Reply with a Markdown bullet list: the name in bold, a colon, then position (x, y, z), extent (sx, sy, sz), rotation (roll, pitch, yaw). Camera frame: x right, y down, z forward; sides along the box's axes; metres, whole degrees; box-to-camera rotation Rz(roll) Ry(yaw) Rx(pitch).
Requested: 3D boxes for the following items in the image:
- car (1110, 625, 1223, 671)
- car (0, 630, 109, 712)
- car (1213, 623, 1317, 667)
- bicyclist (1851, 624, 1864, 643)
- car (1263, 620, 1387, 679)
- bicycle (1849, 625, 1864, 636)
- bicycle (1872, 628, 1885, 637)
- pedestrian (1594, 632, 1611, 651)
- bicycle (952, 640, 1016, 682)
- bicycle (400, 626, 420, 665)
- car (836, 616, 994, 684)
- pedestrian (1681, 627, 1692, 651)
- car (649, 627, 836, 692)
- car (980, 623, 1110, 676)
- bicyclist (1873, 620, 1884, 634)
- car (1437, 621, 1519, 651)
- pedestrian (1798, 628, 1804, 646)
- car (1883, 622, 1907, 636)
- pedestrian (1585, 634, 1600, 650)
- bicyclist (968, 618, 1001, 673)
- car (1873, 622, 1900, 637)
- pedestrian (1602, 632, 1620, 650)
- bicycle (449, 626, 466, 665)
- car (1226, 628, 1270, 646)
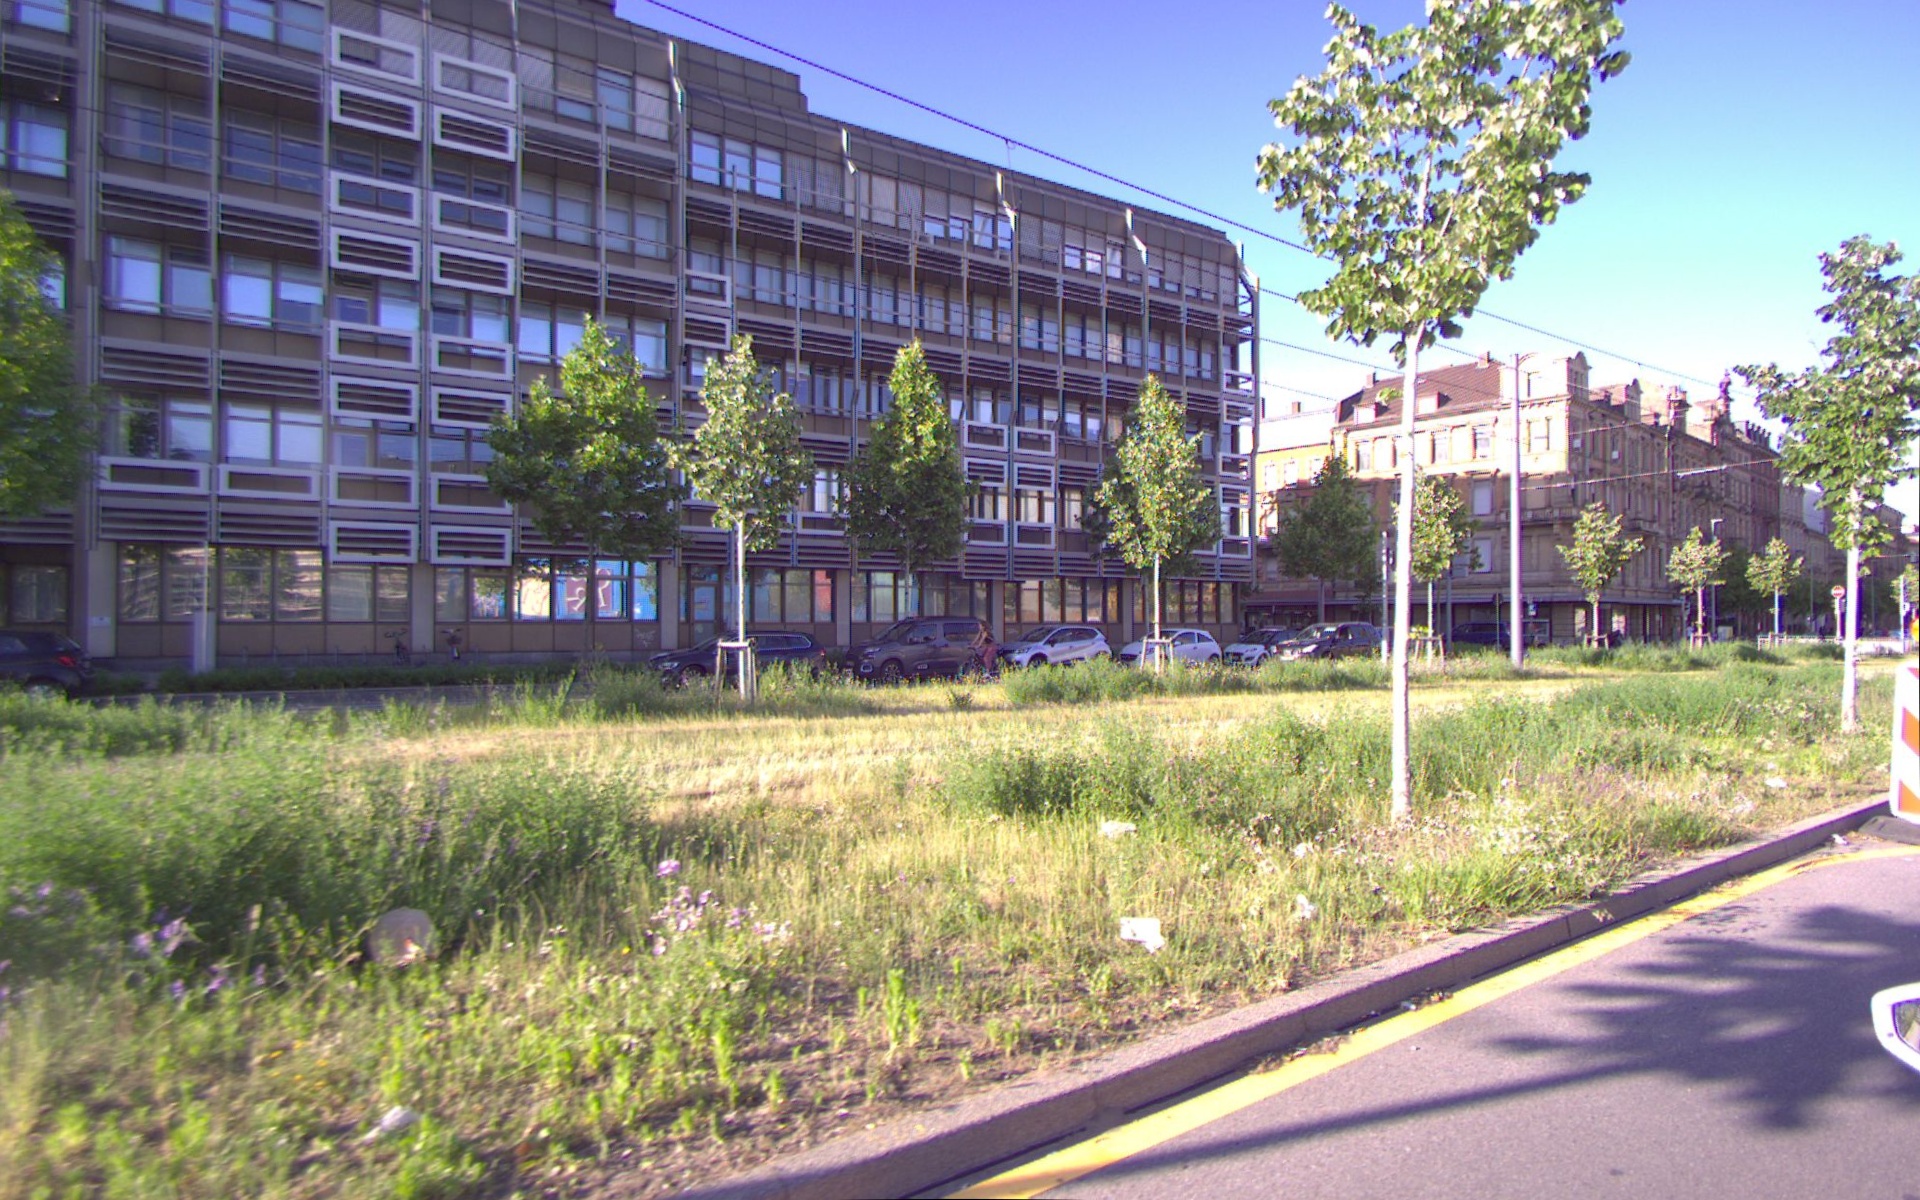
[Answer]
- **car**: position (7.127, 1.622, 34.650), extent (3.778, 1.460, 1.615), rotation (1, 0, -33)
- **car**: position (-18.032, 1.260, 18.001), extent (3.995, 1.405, 1.706), rotation (1, -1, -32)
- **car**: position (11.564, 1.657, 38.022), extent (3.923, 1.574, 1.640), rotation (1, -1, -33)
- **bicyclist**: position (77.012, 2.873, 86.186), extent (0.875, 1.679, 0.689), rotation (1, -1, -39)
- **car**: position (11.699, 1.534, 32.137), extent (4.080, 1.770, 1.717), rotation (1, -1, -35)
- **bicycle**: position (76.640, 2.614, 85.860), extent (1.812, 0.991, 0.689), rotation (2, -1, -40)
- **bicycle**: position (85.596, 3.039, 93.559), extent (2.014, 0.869, 0.632), rotation (1, -1, -40)
- **pedestrian**: position (43.679, 2.835, 68.288), extent (0.921, 1.263, 0.684), rotation (1, -1, -39)
- **bicycle**: position (0.652, 1.654, 27.440), extent (1.752, 1.111, 0.561), rotation (1, -2, -34)
- **bicycle**: position (-15.631, 1.277, 28.566), extent (0.419, 1.086, 1.868), rotation (1, -2, -27)
- **car**: position (-1.276, 1.384, 29.005), extent (4.284, 1.795, 1.740), rotation (1, 0, -33)
- **pedestrian**: position (55.074, 2.958, 76.150), extent (0.403, 1.788, 0.503), rotation (1, 1, -40)
- **car**: position (-5.603, 1.476, 26.111), extent (4.457, 1.489, 1.718), rotation (1, 0, -34)
- **car**: position (2.707, 1.517, 31.719), extent (3.842, 1.557, 1.728), rotation (1, 0, -33)
- **bicyclist**: position (85.499, 2.525, 93.484), extent (0.732, 1.256, 0.632), rotation (1, -1, -39)
- **car**: position (34.041, 2.362, 66.096), extent (1.886, 1.928, 4.465), rotation (1, -2, -44)
- **pedestrian**: position (85.080, 3.748, 101.606), extent (0.403, 1.788, 0.363), rotation (1, 1, -40)
- **car**: position (105.895, 3.295, 113.749), extent (4.678, 1.583, 1.553), rotation (1, -2, -41)
- **pedestrian**: position (43.737, 2.913, 69.409), extent (0.730, 1.073, 0.684), rotation (1, -1, -39)
- **bicyclist**: position (0.679, 1.237, 27.447), extent (0.698, 1.476, 0.562), rotation (1, -2, -34)
- **car**: position (99.844, 3.162, 108.230), extent (4.677, 1.583, 1.553), rotation (1, -2, -41)
- **pedestrian**: position (45.085, 2.814, 69.559), extent (0.921, 1.224, 0.785), rotation (1, -1, -39)
- **bicycle**: position (-14.624, 1.307, 29.231), extent (0.419, 1.086, 1.922), rotation (1, -2, -27)
- **car**: position (22.473, 2.867, 78.493), extent (1.476, 1.427, 3.023), rotation (1, -2, -44)
